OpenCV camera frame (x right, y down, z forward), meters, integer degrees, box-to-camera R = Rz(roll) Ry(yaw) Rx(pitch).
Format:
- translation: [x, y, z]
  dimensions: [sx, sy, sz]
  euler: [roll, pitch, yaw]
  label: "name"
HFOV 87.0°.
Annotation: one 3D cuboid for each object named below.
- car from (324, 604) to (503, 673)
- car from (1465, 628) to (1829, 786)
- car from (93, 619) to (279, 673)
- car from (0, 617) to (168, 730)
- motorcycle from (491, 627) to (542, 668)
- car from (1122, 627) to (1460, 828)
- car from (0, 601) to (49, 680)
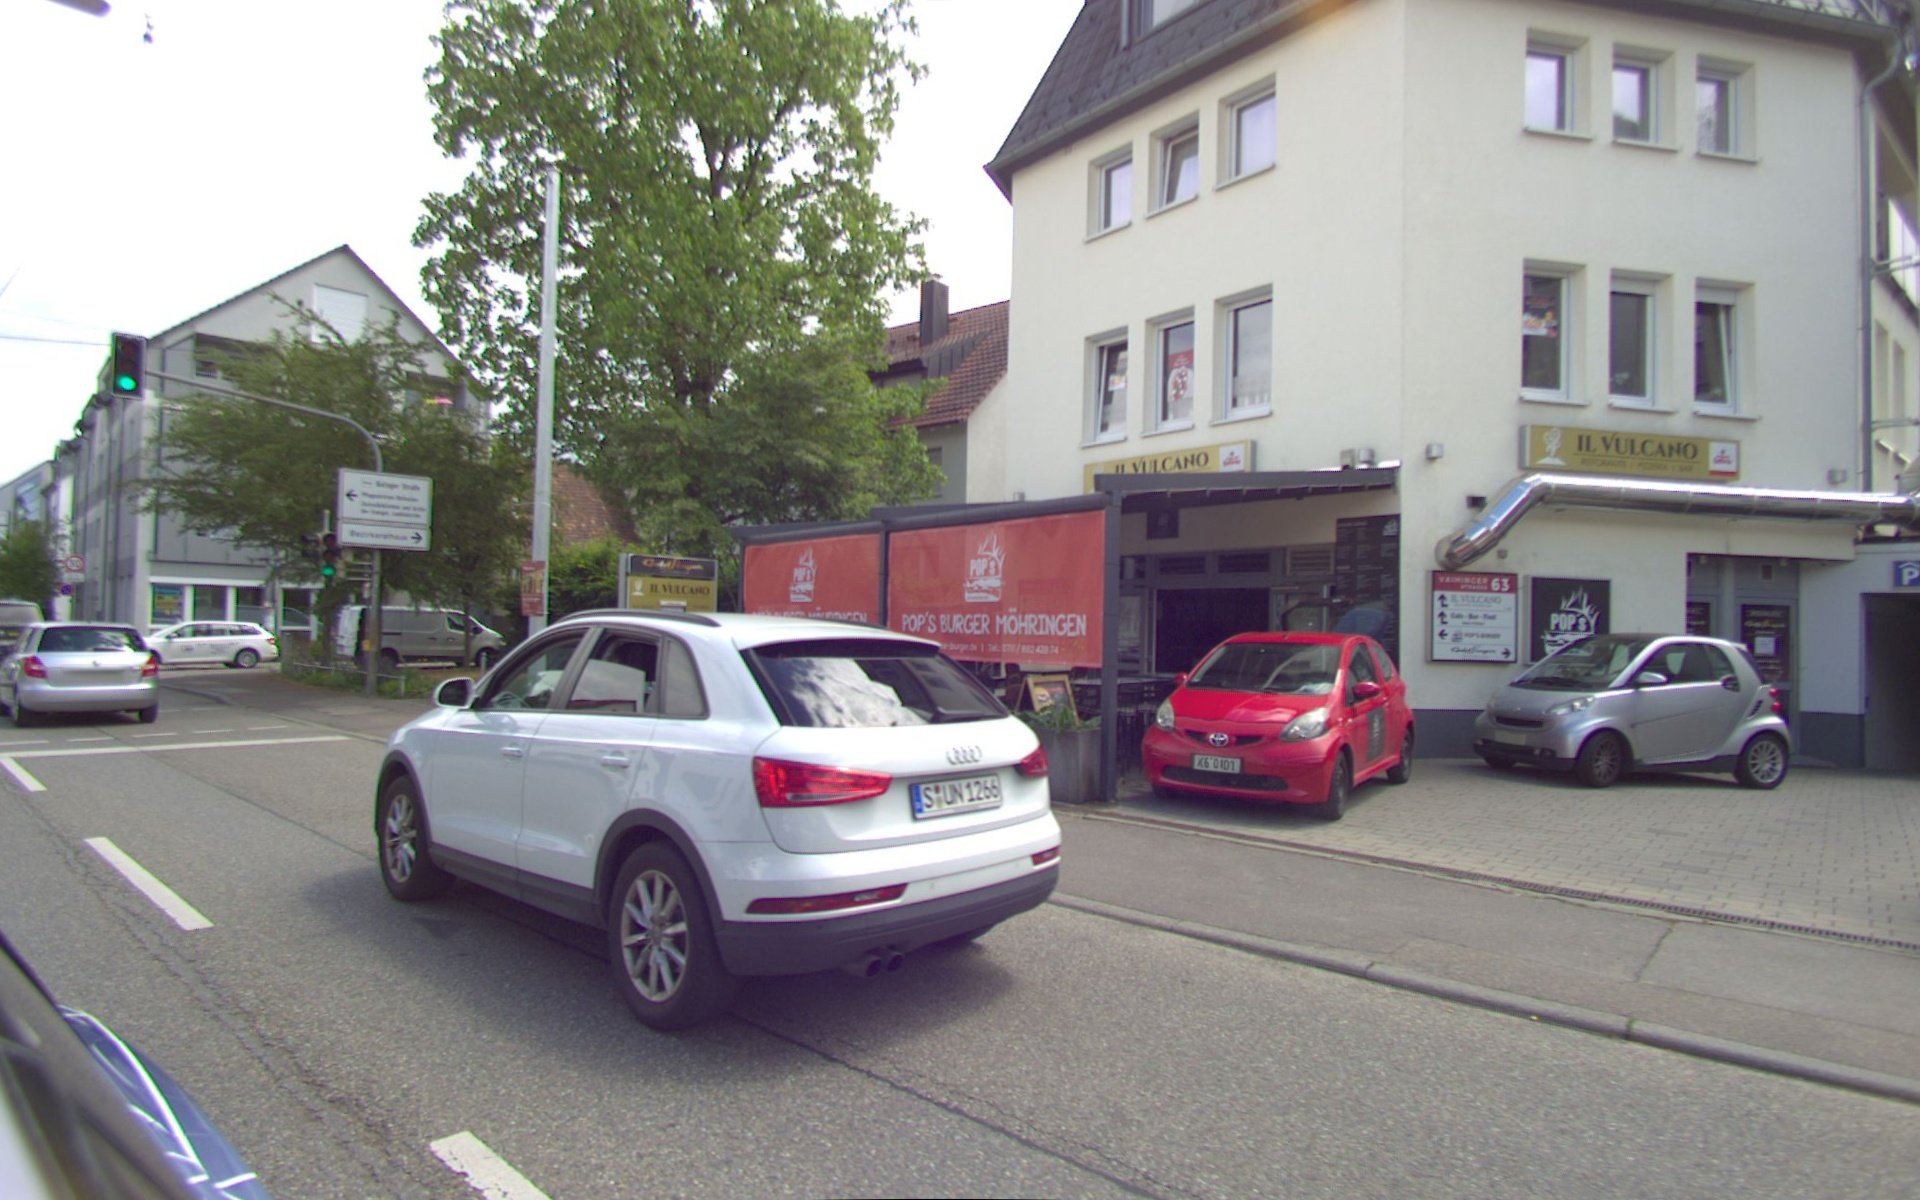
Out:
- translation: [-17.338, 1.195, 32.292]
  dimensions: [2.093, 2.024, 4.575]
  euler: [-1, -2, 39]
  label: "car"
- translation: [7.038, 1.066, 10.512]
  dimensions: [2.802, 1.481, 1.569]
  euler: [2, -2, -9]
  label: "car"
- translation: [-23.241, 1.356, 30.506]
  dimensions: [1.821, 1.525, 4.167]
  euler: [-3, -3, 41]
  label: "car"
- translation: [-13.521, 1.032, 15.350]
  dimensions: [3.810, 1.498, 1.601]
  euler: [-1, -2, 40]
  label: "car"
- translation: [-15.242, 1.607, 34.762]
  dimensions: [2.136, 1.343, 0.832]
  euler: [-1, -2, 44]
  label: "motorcycle"
- translation: [3.170, 0.964, 9.256]
  dimensions: [1.803, 1.436, 3.657]
  euler: [-1, -2, 38]
  label: "car"
- translation: [-25.253, 1.014, 26.198]
  dimensions: [4.748, 1.927, 1.858]
  euler: [-1, -2, 40]
  label: "car"
